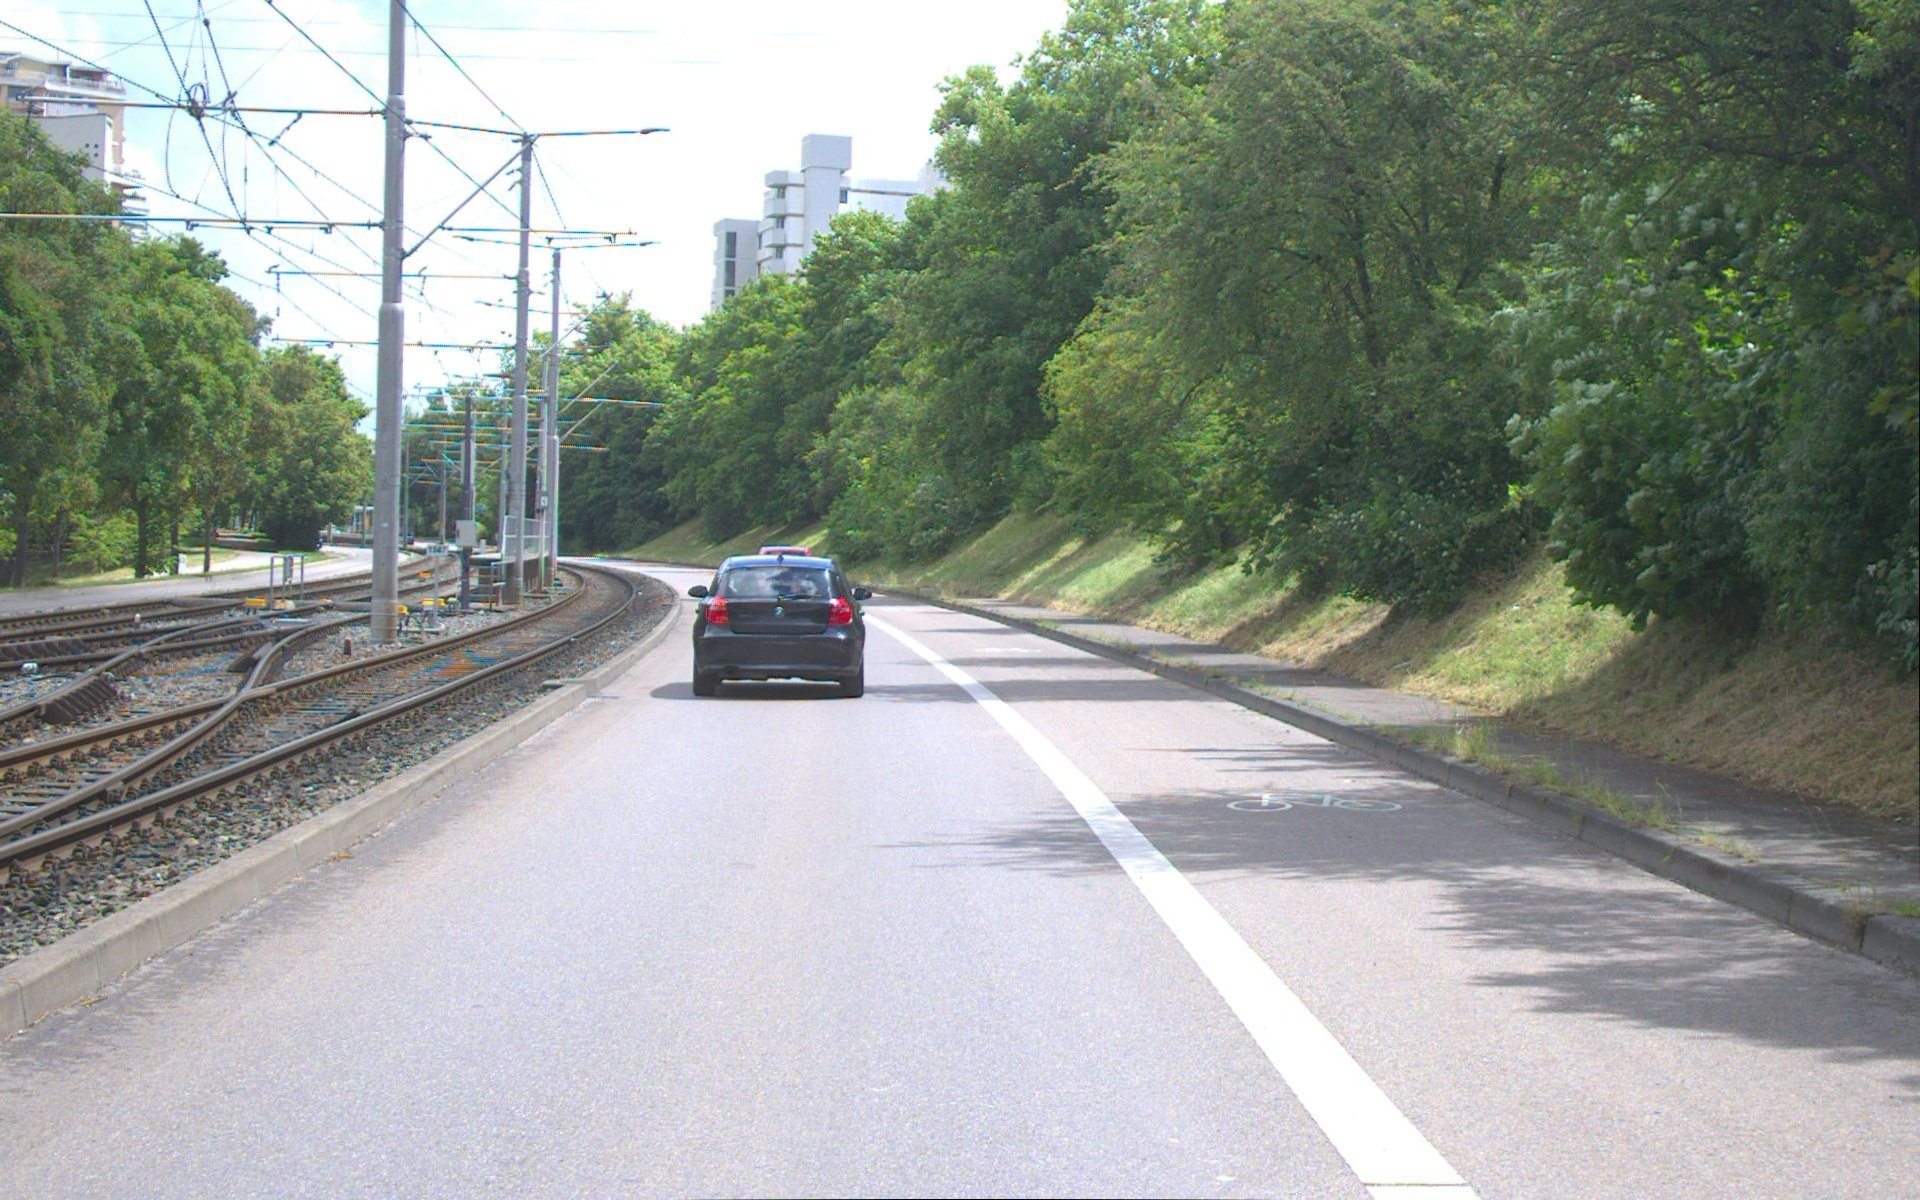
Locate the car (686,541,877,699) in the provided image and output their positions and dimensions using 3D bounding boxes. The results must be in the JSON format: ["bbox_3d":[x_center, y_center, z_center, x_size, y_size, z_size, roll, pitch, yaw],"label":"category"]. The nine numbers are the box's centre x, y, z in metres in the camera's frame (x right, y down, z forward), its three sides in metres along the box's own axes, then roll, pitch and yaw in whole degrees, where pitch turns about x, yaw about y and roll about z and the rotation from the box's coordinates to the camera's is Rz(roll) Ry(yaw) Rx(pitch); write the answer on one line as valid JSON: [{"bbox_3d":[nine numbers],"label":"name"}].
[{"bbox_3d":[-1.785,0.191,35.494,1.708,1.455,3.960,3,0,0],"label":"car"}]

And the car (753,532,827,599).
[{"bbox_3d":[-3.998,-0.826,80.490,1.624,1.438,3.422,2,2,-4],"label":"car"}]
